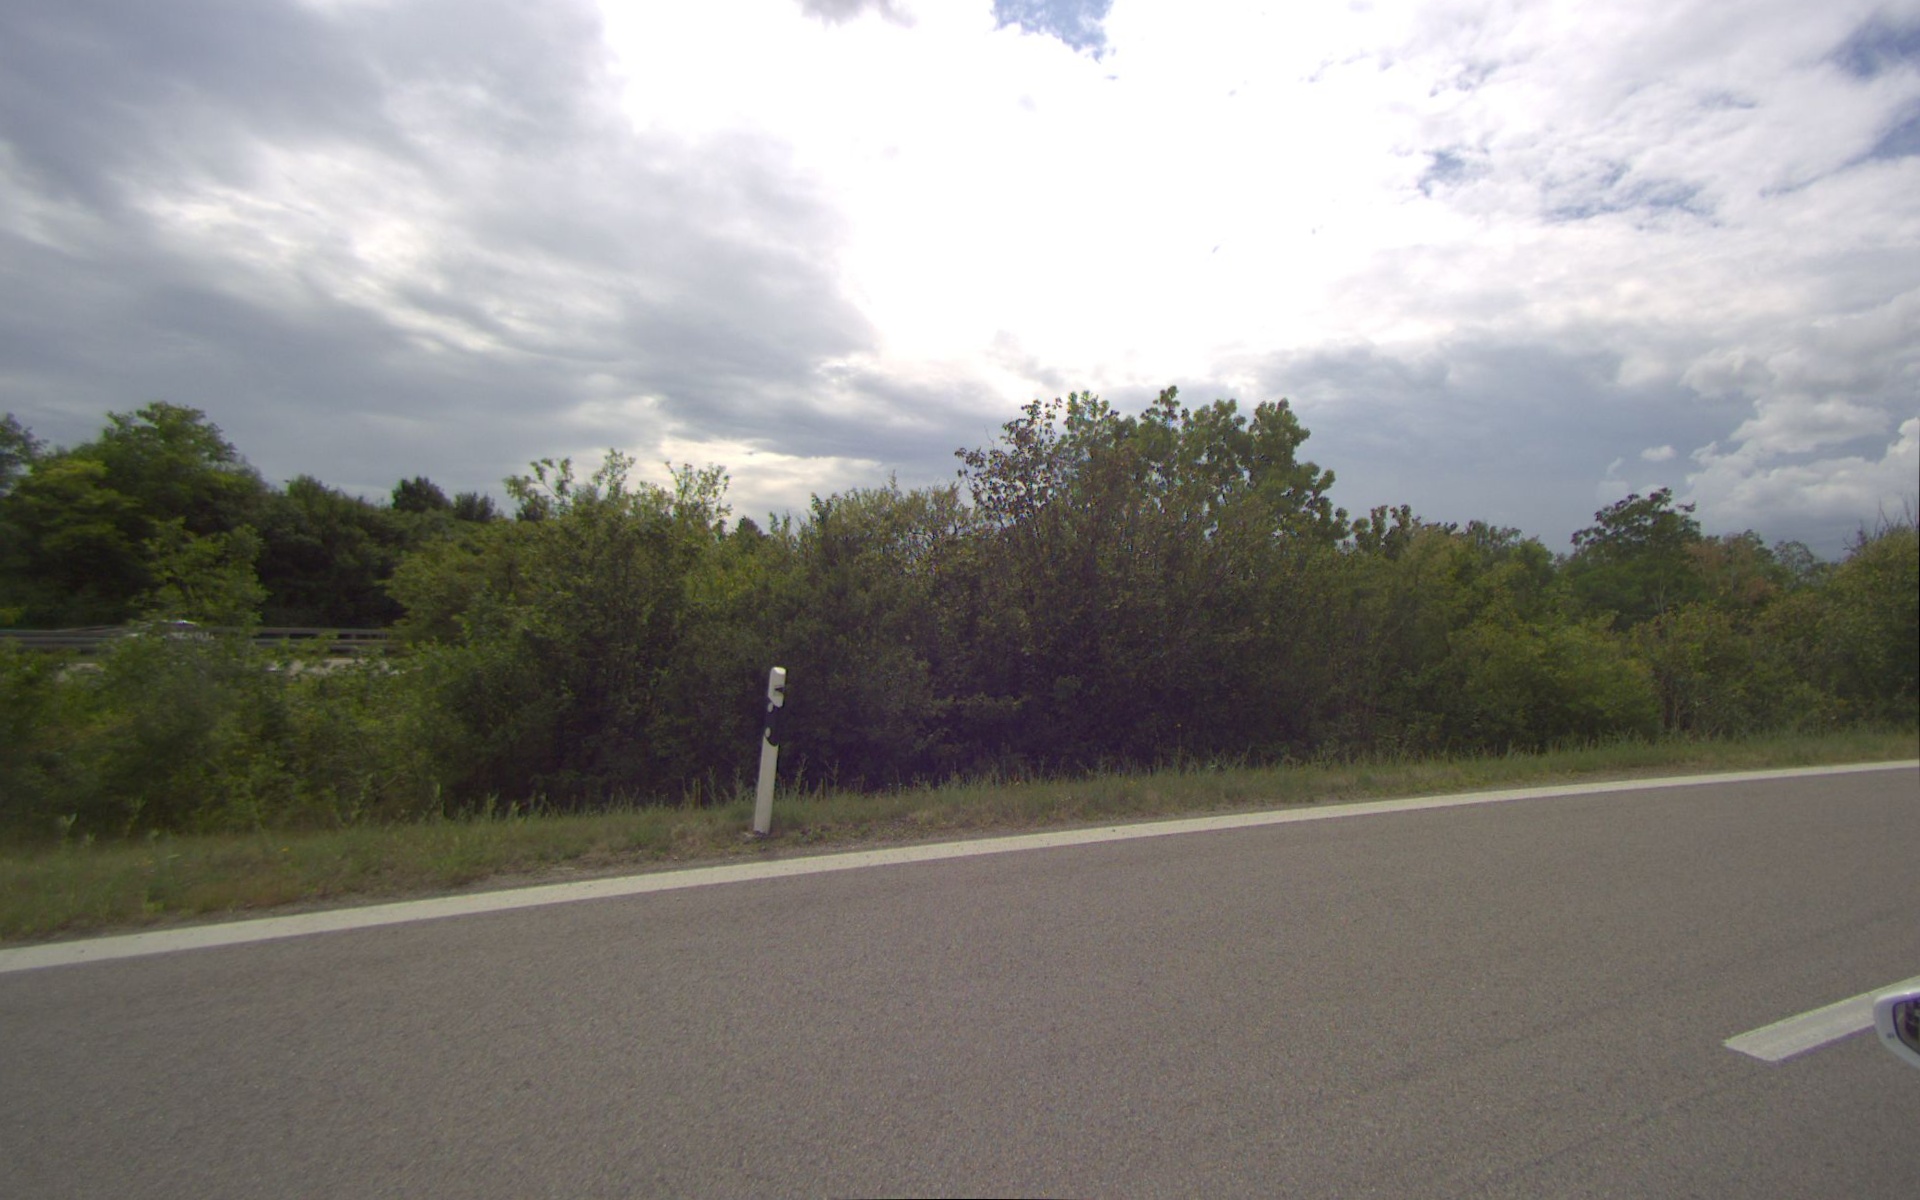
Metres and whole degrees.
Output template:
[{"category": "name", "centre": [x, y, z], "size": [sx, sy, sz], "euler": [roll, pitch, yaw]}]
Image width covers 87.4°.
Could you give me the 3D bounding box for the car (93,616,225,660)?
[{"category": "car", "centre": [-29.811, 1.422, 37.479], "size": [1.511, 1.529, 3.521], "euler": [0, -2, 24]}]
